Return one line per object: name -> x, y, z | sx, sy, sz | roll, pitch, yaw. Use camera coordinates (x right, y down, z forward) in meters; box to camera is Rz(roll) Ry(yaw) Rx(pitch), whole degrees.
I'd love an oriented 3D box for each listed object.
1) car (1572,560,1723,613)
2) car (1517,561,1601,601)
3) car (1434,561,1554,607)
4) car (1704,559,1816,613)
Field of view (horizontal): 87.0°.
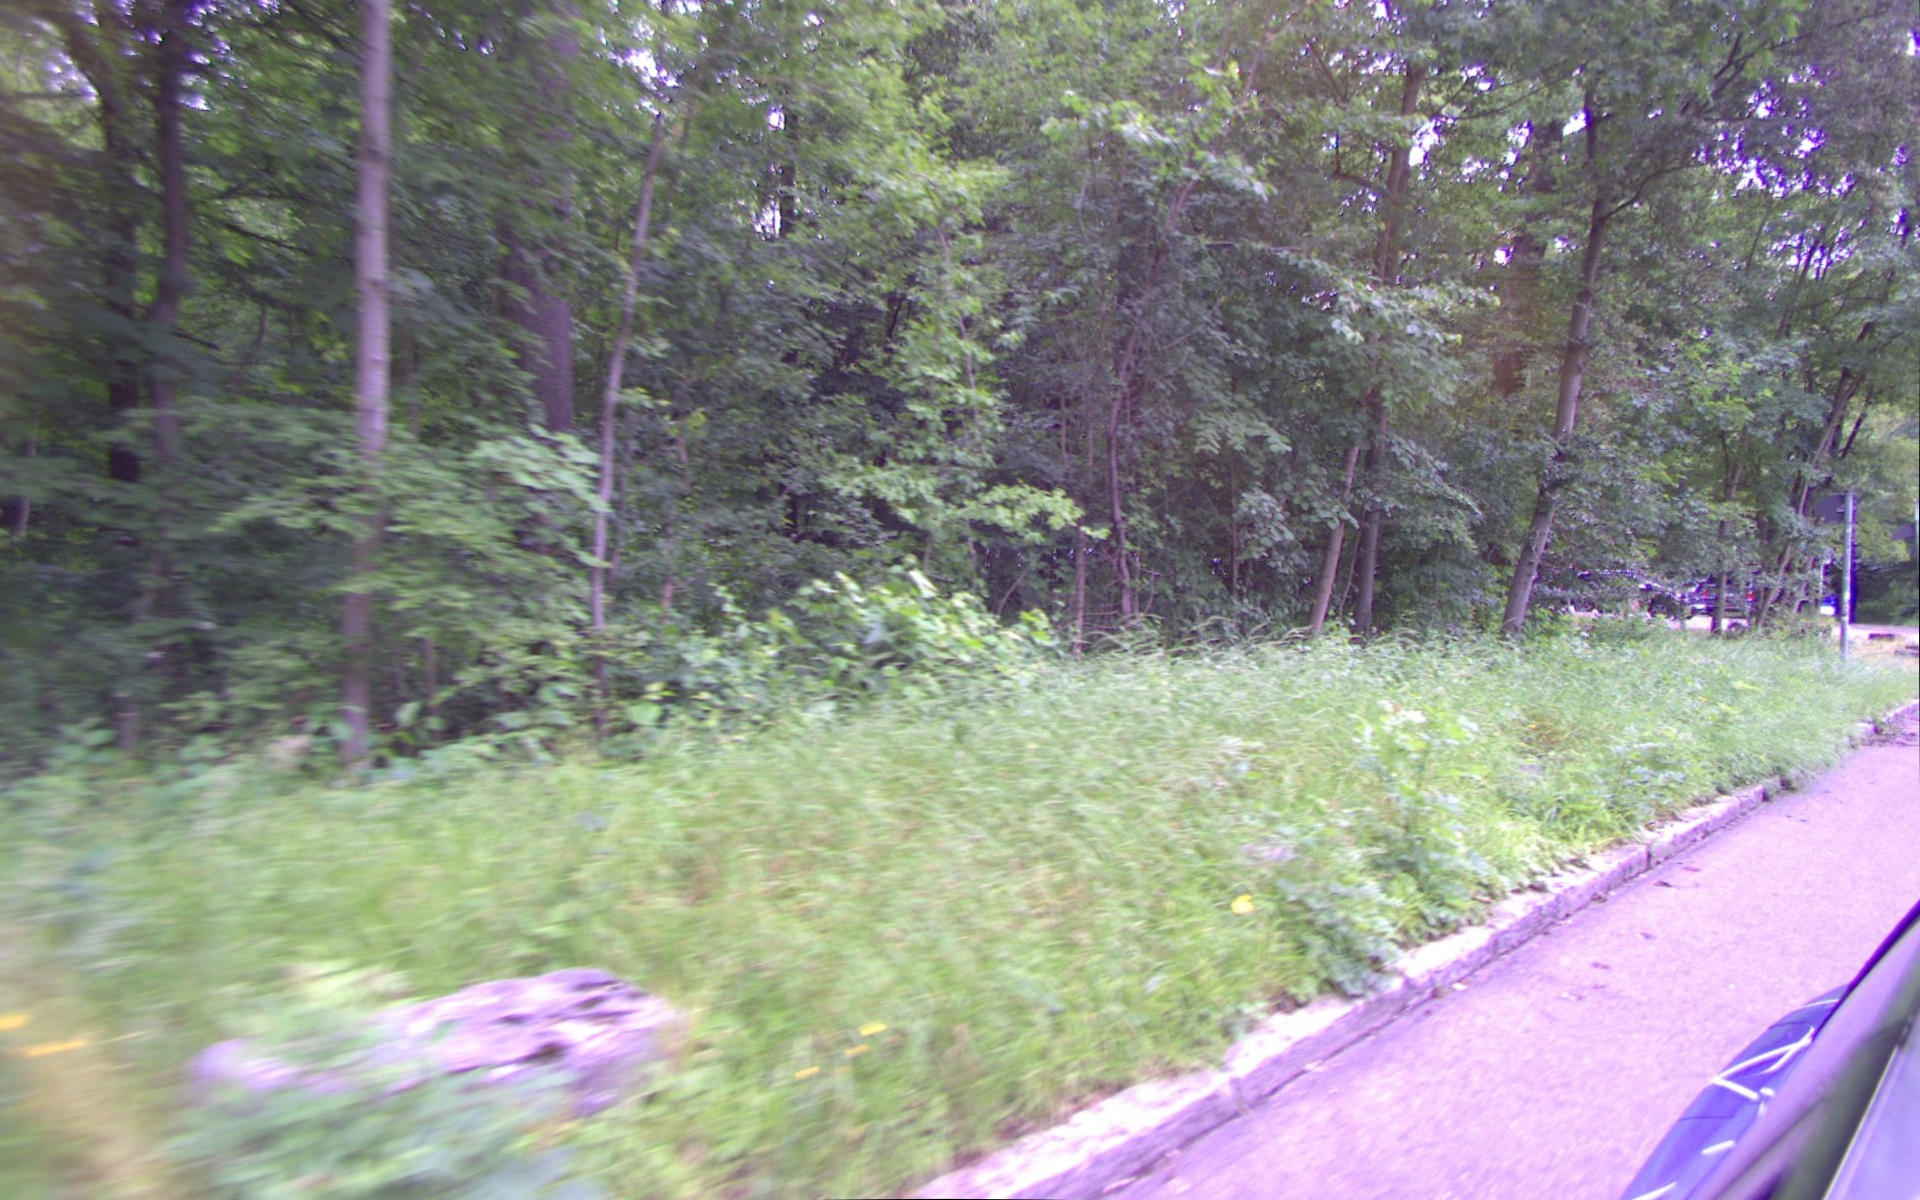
car -> 24.776, -0.532, 36.630 | 1.779, 1.653, 4.107 | 0, 4, -30
car -> 28.557, -0.891, 48.246 | 3.922, 1.787, 1.826 | 0, 3, -33
car -> 21.967, -0.713, 41.790 | 1.779, 1.652, 4.005 | -1, 5, -30
car -> 32.506, -0.564, 41.115 | 4.425, 2.002, 1.894 | 1, 3, -29
